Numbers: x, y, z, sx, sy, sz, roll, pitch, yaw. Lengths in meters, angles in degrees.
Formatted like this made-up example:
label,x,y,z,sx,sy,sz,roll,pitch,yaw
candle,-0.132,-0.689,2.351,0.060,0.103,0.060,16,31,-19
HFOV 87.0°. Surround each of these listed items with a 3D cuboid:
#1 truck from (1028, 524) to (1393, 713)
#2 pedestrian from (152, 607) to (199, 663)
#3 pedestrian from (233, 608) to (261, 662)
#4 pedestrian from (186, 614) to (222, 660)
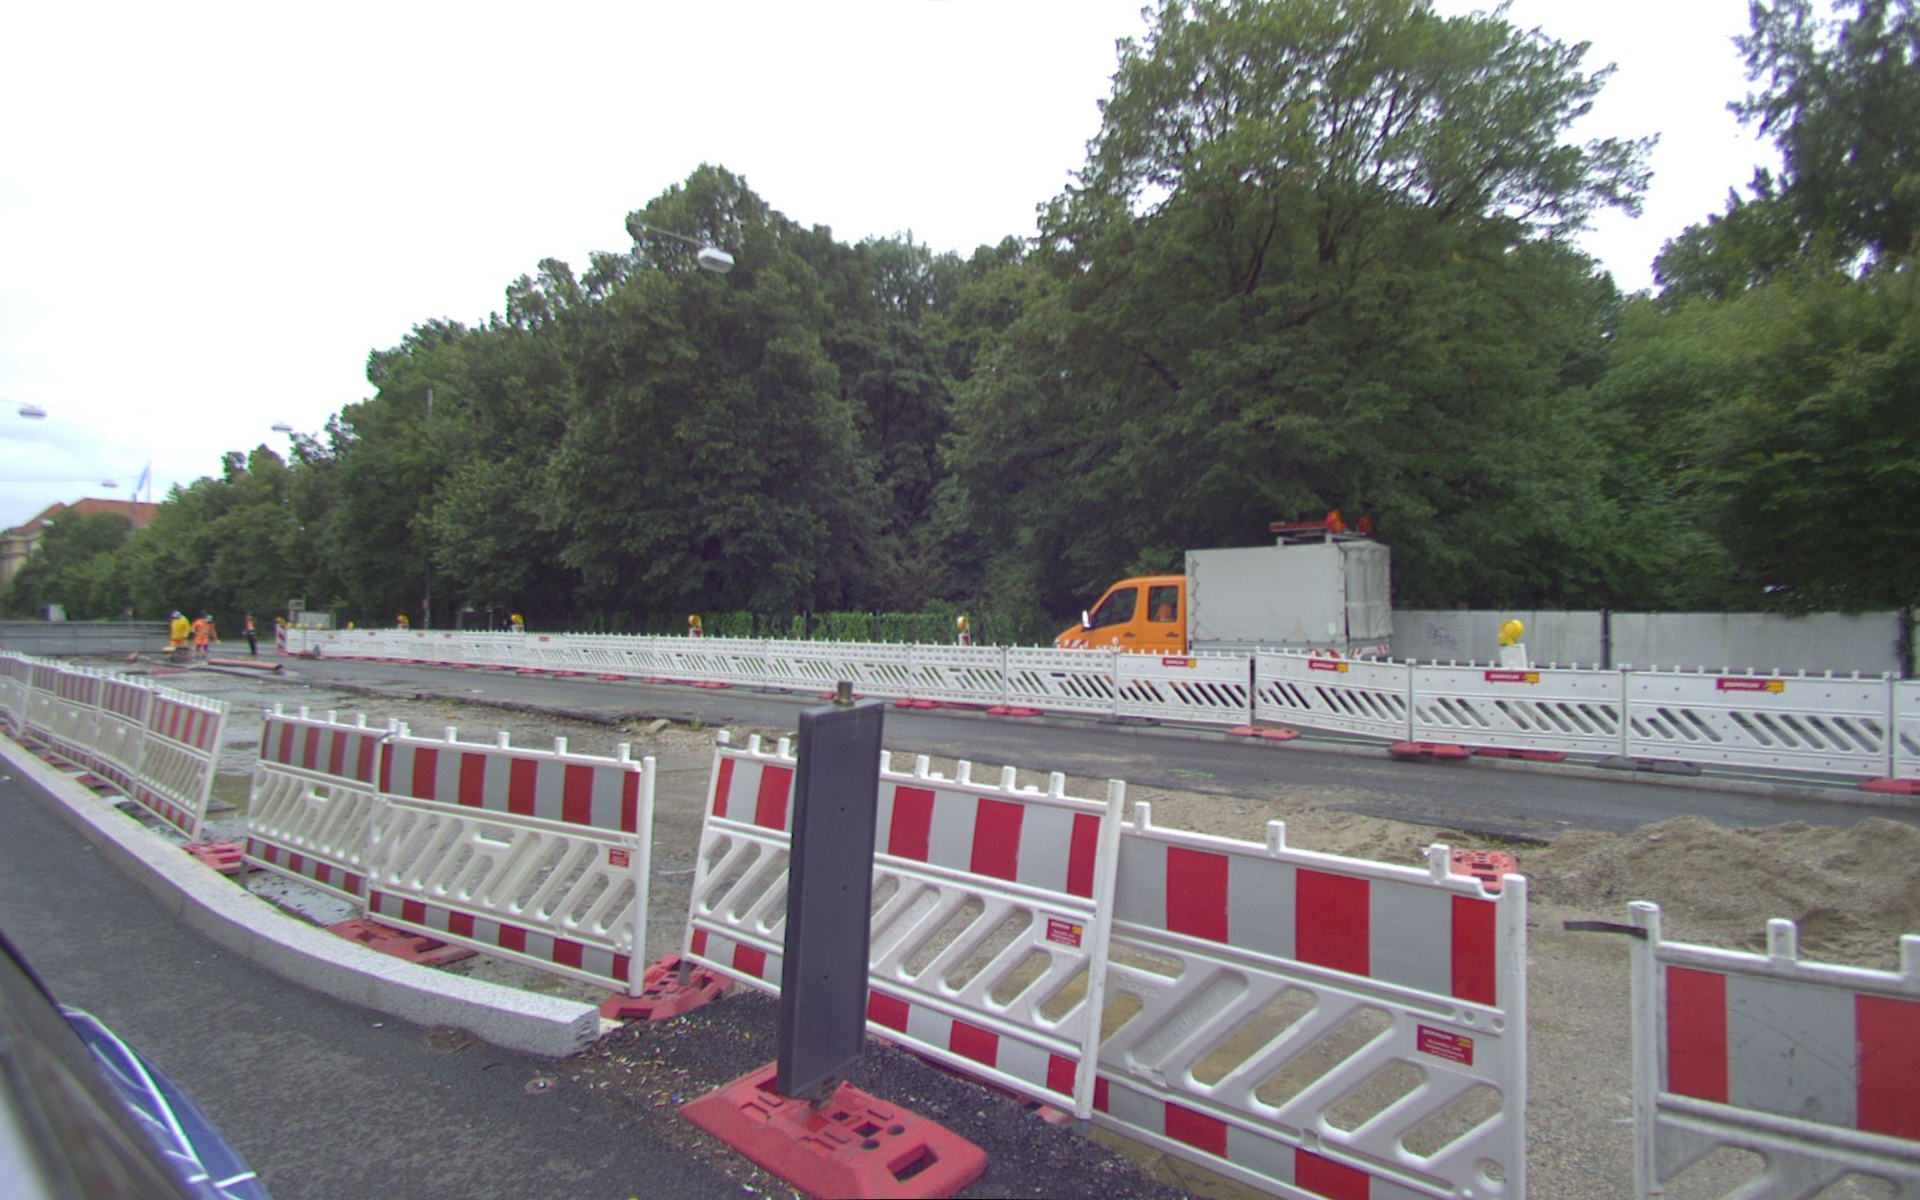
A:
label,x,y,z,sx,sy,sz,roll,pitch,yaw
truck,4.288,0.356,18.314,6.213,2.871,2.098,-1,-3,44
pedestrian,-26.367,1.188,34.029,0.848,1.850,0.875,1,-2,-2
pedestrian,-26.734,1.319,37.969,0.657,1.985,0.808,1,-2,-23
pedestrian,-28.301,1.371,37.880,0.911,1.701,0.888,-1,-3,44
